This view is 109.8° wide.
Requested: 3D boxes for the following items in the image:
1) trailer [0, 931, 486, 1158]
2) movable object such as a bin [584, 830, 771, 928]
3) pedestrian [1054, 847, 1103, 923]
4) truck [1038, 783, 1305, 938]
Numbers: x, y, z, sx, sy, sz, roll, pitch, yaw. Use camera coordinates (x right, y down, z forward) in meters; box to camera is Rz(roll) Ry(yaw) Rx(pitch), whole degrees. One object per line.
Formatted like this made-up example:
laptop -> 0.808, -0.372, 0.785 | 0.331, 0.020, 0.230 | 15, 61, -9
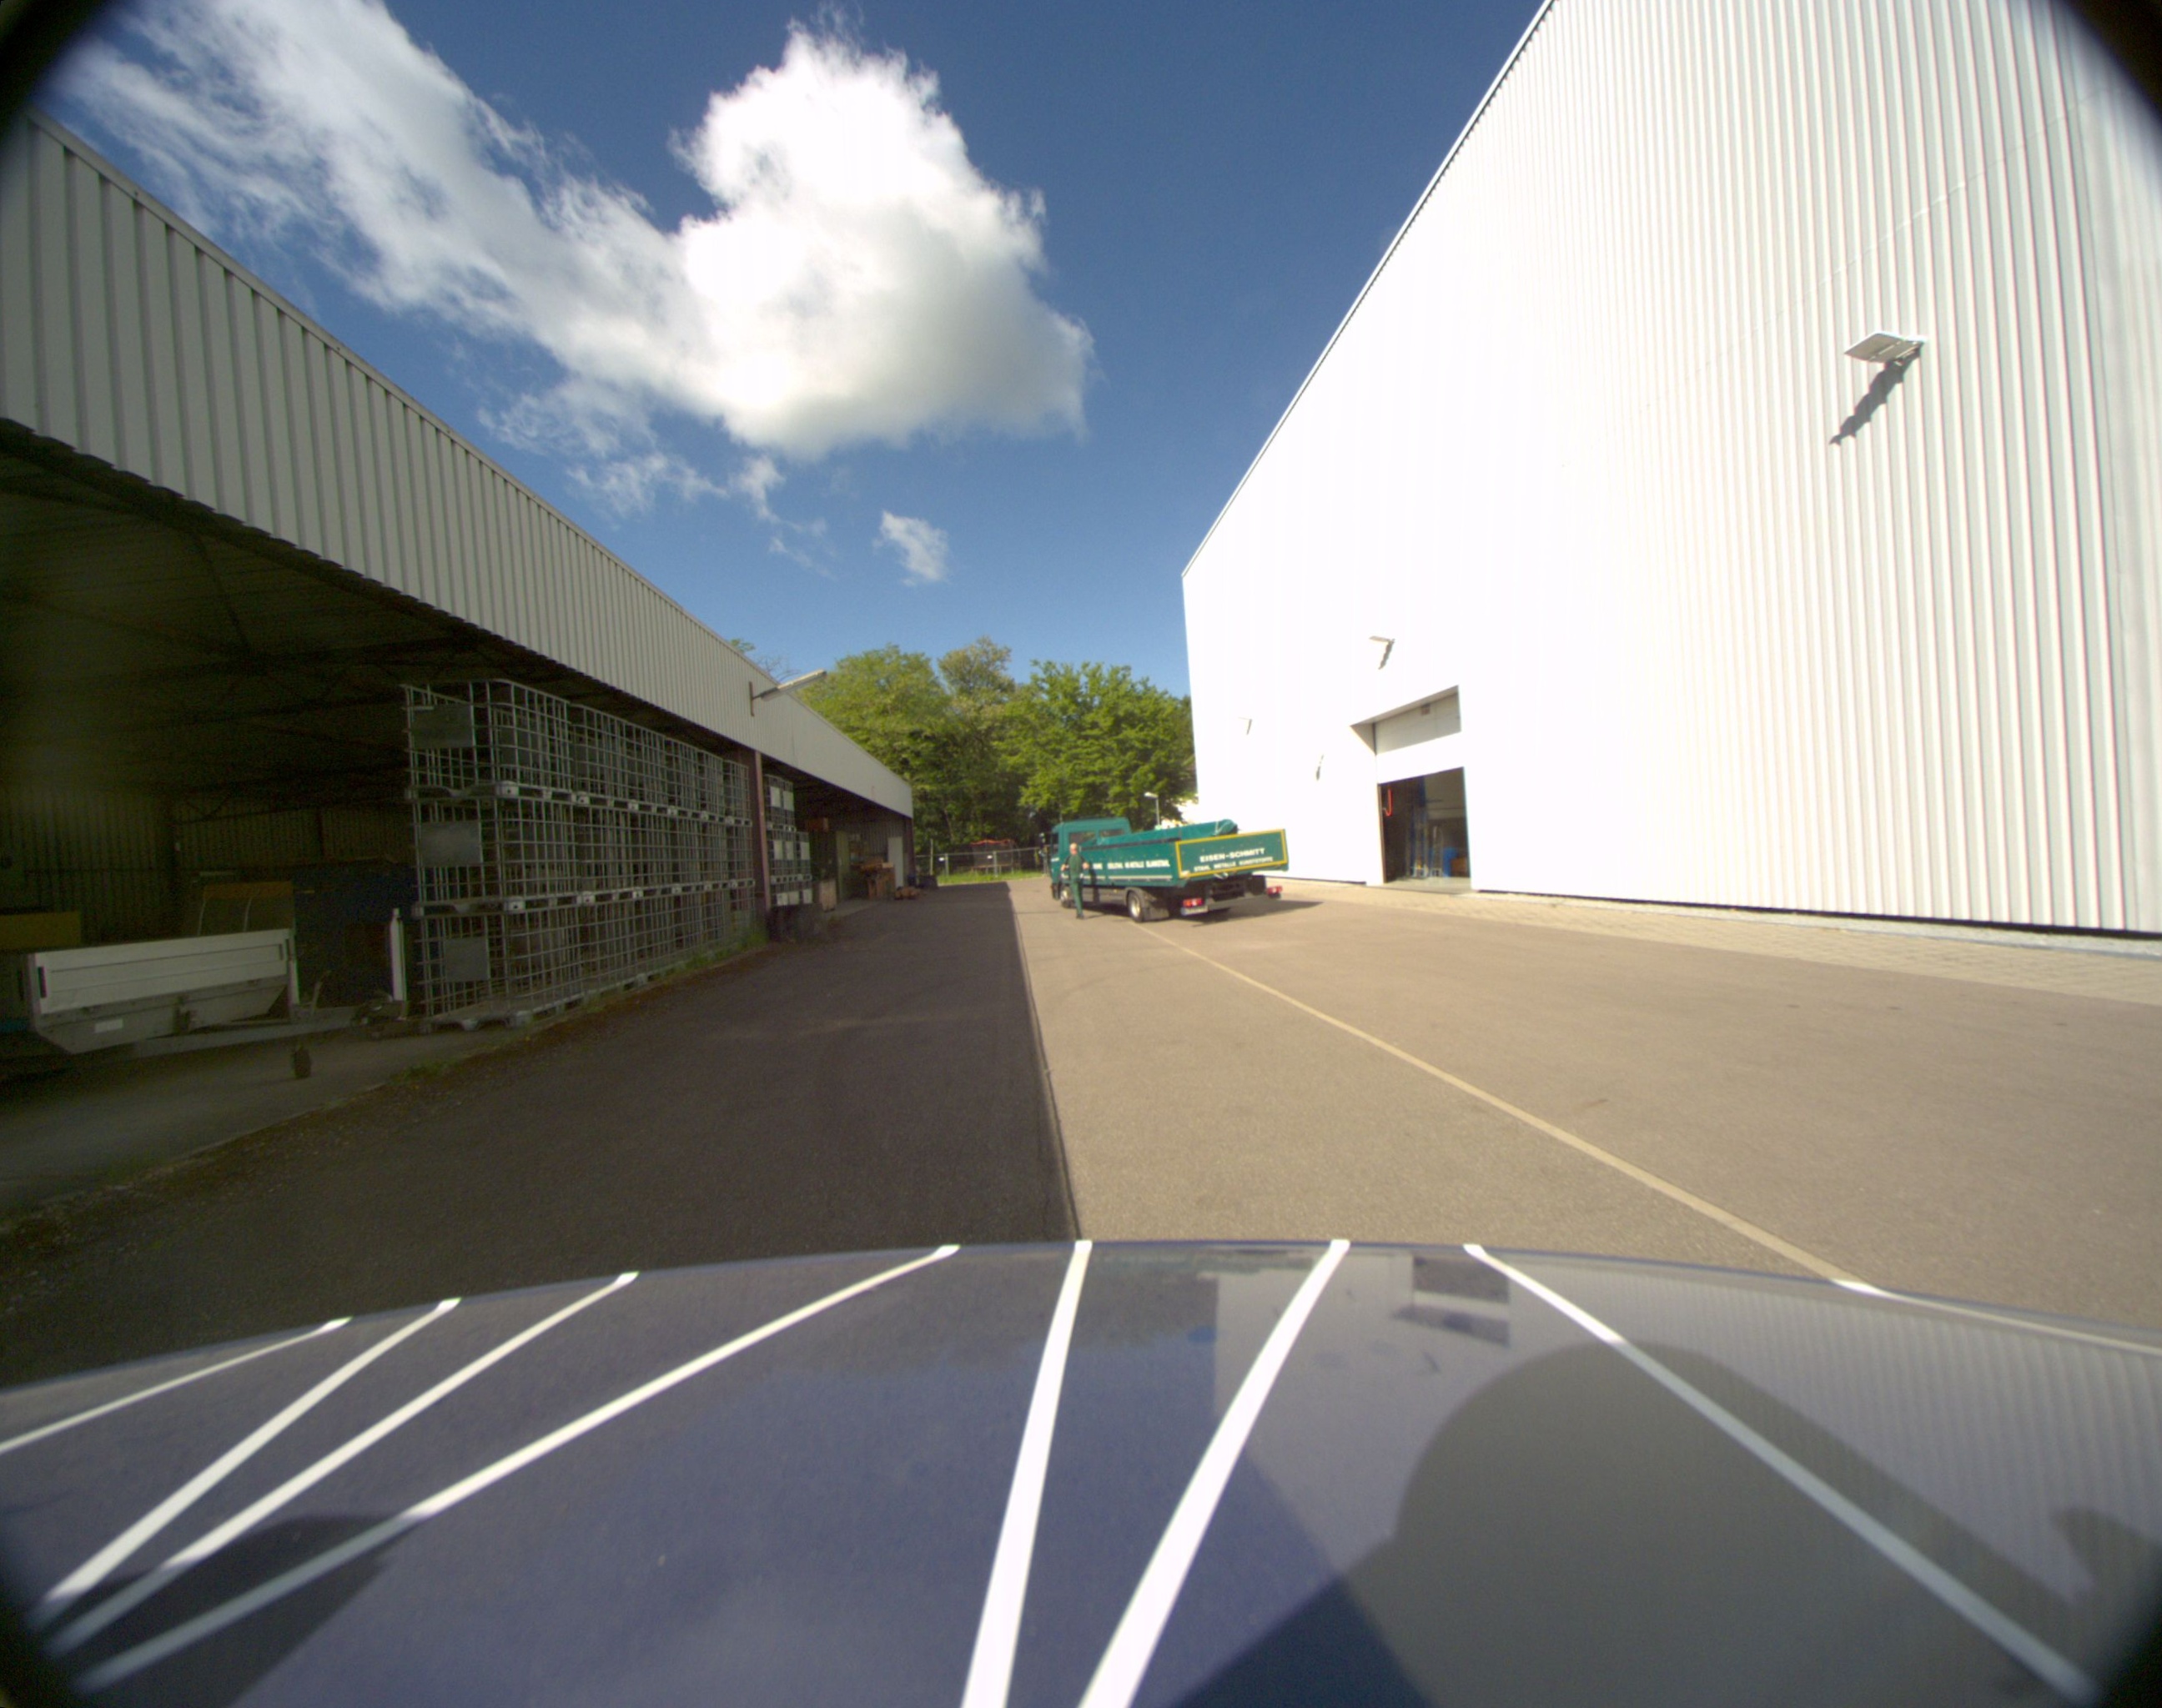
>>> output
trailer -> -8.238, 1.434, 5.631 | 5.752, 1.126, 2.007 | -3, 0, -7
movable object such as a bin -> -12.379, 0.741, 23.616 | 4.629, 2.706, 1.999 | -2, -1, -8
pedestrian -> -0.073, 0.736, 18.569 | 0.895, 1.792, 1.038 | -2, 1, -18
truck -> 1.545, 0.188, 19.165 | 2.590, 2.701, 9.681 | -7, 1, -18
